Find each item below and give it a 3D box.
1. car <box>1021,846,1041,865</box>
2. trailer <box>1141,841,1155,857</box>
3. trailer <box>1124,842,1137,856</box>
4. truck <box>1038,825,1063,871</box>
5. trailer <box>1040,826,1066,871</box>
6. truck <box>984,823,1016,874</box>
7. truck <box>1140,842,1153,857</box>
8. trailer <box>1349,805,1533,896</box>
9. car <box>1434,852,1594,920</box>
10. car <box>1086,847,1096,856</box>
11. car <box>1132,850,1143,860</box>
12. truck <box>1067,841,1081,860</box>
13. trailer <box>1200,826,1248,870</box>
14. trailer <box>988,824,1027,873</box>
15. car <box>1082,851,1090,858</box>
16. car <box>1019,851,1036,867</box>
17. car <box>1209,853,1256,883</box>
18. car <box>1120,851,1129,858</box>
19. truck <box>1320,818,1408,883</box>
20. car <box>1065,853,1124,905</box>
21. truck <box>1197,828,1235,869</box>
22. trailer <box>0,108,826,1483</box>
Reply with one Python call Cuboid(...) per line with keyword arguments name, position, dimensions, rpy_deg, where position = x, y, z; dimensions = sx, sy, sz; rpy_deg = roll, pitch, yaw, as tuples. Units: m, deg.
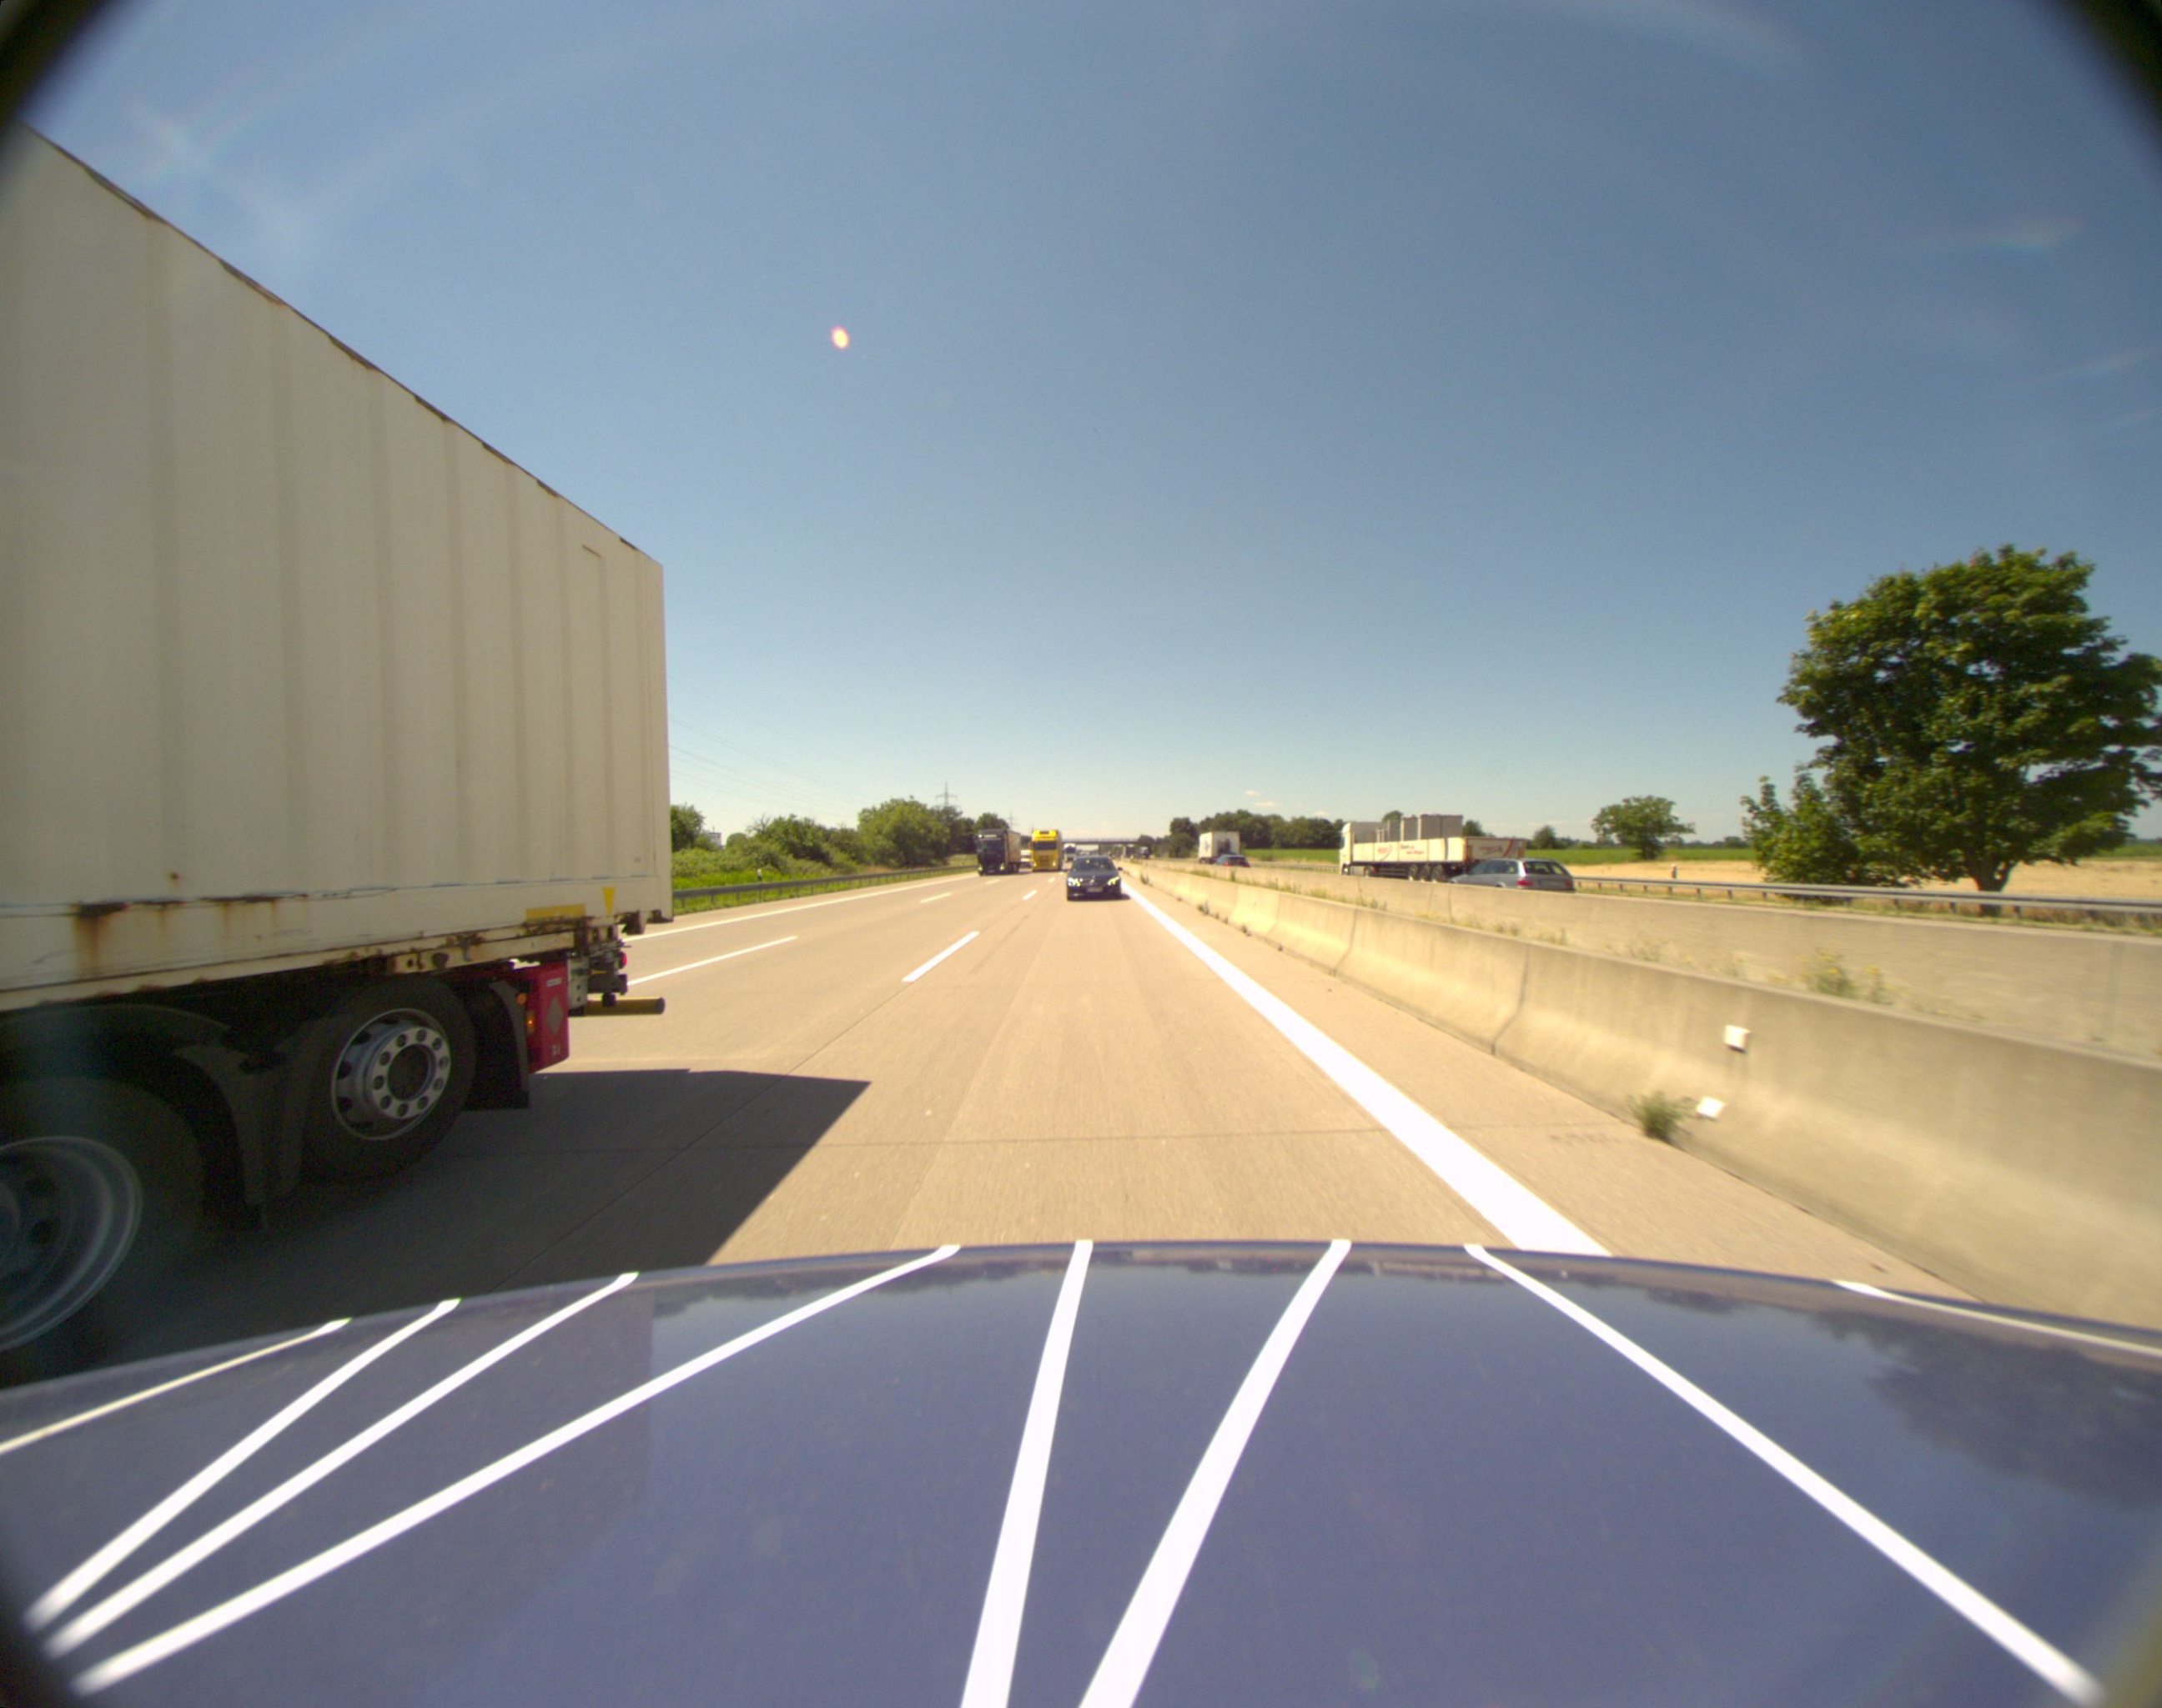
Cuboid(name="car", position=(-6.695, 0.174, 101.718), dimensions=(2.139, 2.333, 5.516), rpy_deg=(-2, 0, 1))
Cuboid(name="trailer", position=(20.328, -1.438, 230.463), dimensions=(3.239, 4.580, 12.293), rpy_deg=(-2, 0, 1))
Cuboid(name="trailer", position=(15.747, -1.519, 240.594), dimensions=(3.276, 4.449, 14.450), rpy_deg=(0, 0, 1))
Cuboid(name="truck", position=(-2.860, -0.574, 73.065), dimensions=(1.998, 4.230, 5.194), rpy_deg=(-2, 0, 0))
Cuboid(name="trailer", position=(-2.837, -0.533, 80.026), dimensions=(1.998, 4.229, 15.198), rpy_deg=(-2, 0, 0))
Cuboid(name="truck", position=(-6.971, -0.442, 66.167), dimensions=(1.998, 4.168, 5.706), rpy_deg=(-2, 0, 1))
Cuboid(name="truck", position=(20.411, -1.289, 236.429), dimensions=(3.240, 4.580, 6.250), rpy_deg=(-2, 0, 1))
Cuboid(name="trailer", position=(17.240, -0.180, 38.155), dimensions=(2.810, 3.662, 13.749), rpy_deg=(-2, 0, 1))
Cuboid(name="car", position=(12.482, 0.822, 22.360), dimensions=(1.968, 1.707, 5.127), rpy_deg=(-2, 0, 3))
Cuboid(name="car", position=(2.126, -0.474, 163.504), dimensions=(1.998, 1.780, 4.301), rpy_deg=(-2, 0, 1))
Cuboid(name="car", position=(10.934, 0.161, 146.304), dimensions=(1.868, 1.719, 4.141), rpy_deg=(-2, 0, 2))
Cuboid(name="truck", position=(-1.544, -0.797, 169.426), dimensions=(2.959, 4.122, 6.152), rpy_deg=(-2, 0, 1))
Cuboid(name="trailer", position=(13.618, -0.554, 73.085), dimensions=(2.908, 3.947, 8.477), rpy_deg=(-2, 0, 0))
Cuboid(name="trailer", position=(-6.904, -0.471, 73.222), dimensions=(1.998, 4.168, 14.745), rpy_deg=(-2, 0, 1))
Cuboid(name="car", position=(1.434, 0.203, 216.782), dimensions=(1.999, 1.827, 4.815), rpy_deg=(-2, 0, -2))
Cuboid(name="car", position=(-6.781, 0.643, 97.061), dimensions=(1.788, 2.002, 3.819), rpy_deg=(-2, 0, 1))
Cuboid(name="car", position=(9.533, 0.845, 48.089), dimensions=(1.998, 1.707, 5.024), rpy_deg=(-2, 0, 1))
Cuboid(name="car", position=(11.098, 0.073, 194.760), dimensions=(1.887, 1.685, 4.682), rpy_deg=(-2, 0, 0))
Cuboid(name="truck", position=(17.543, -0.190, 47.639), dimensions=(2.810, 3.666, 7.236), rpy_deg=(-2, 0, 1))
Cuboid(name="car", position=(0.448, 0.805, 26.521), dimensions=(1.848, 1.576, 3.940), rpy_deg=(-2, 0, 1))
Cuboid(name="truck", position=(13.627, -0.562, 77.052), dimensions=(2.908, 3.947, 5.045), rpy_deg=(-2, 0, 0))
Cuboid(name="trailer", position=(-4.317, -0.167, 3.604), dimensions=(2.587, 3.855, 10.372), rpy_deg=(-2, 0, 0))
